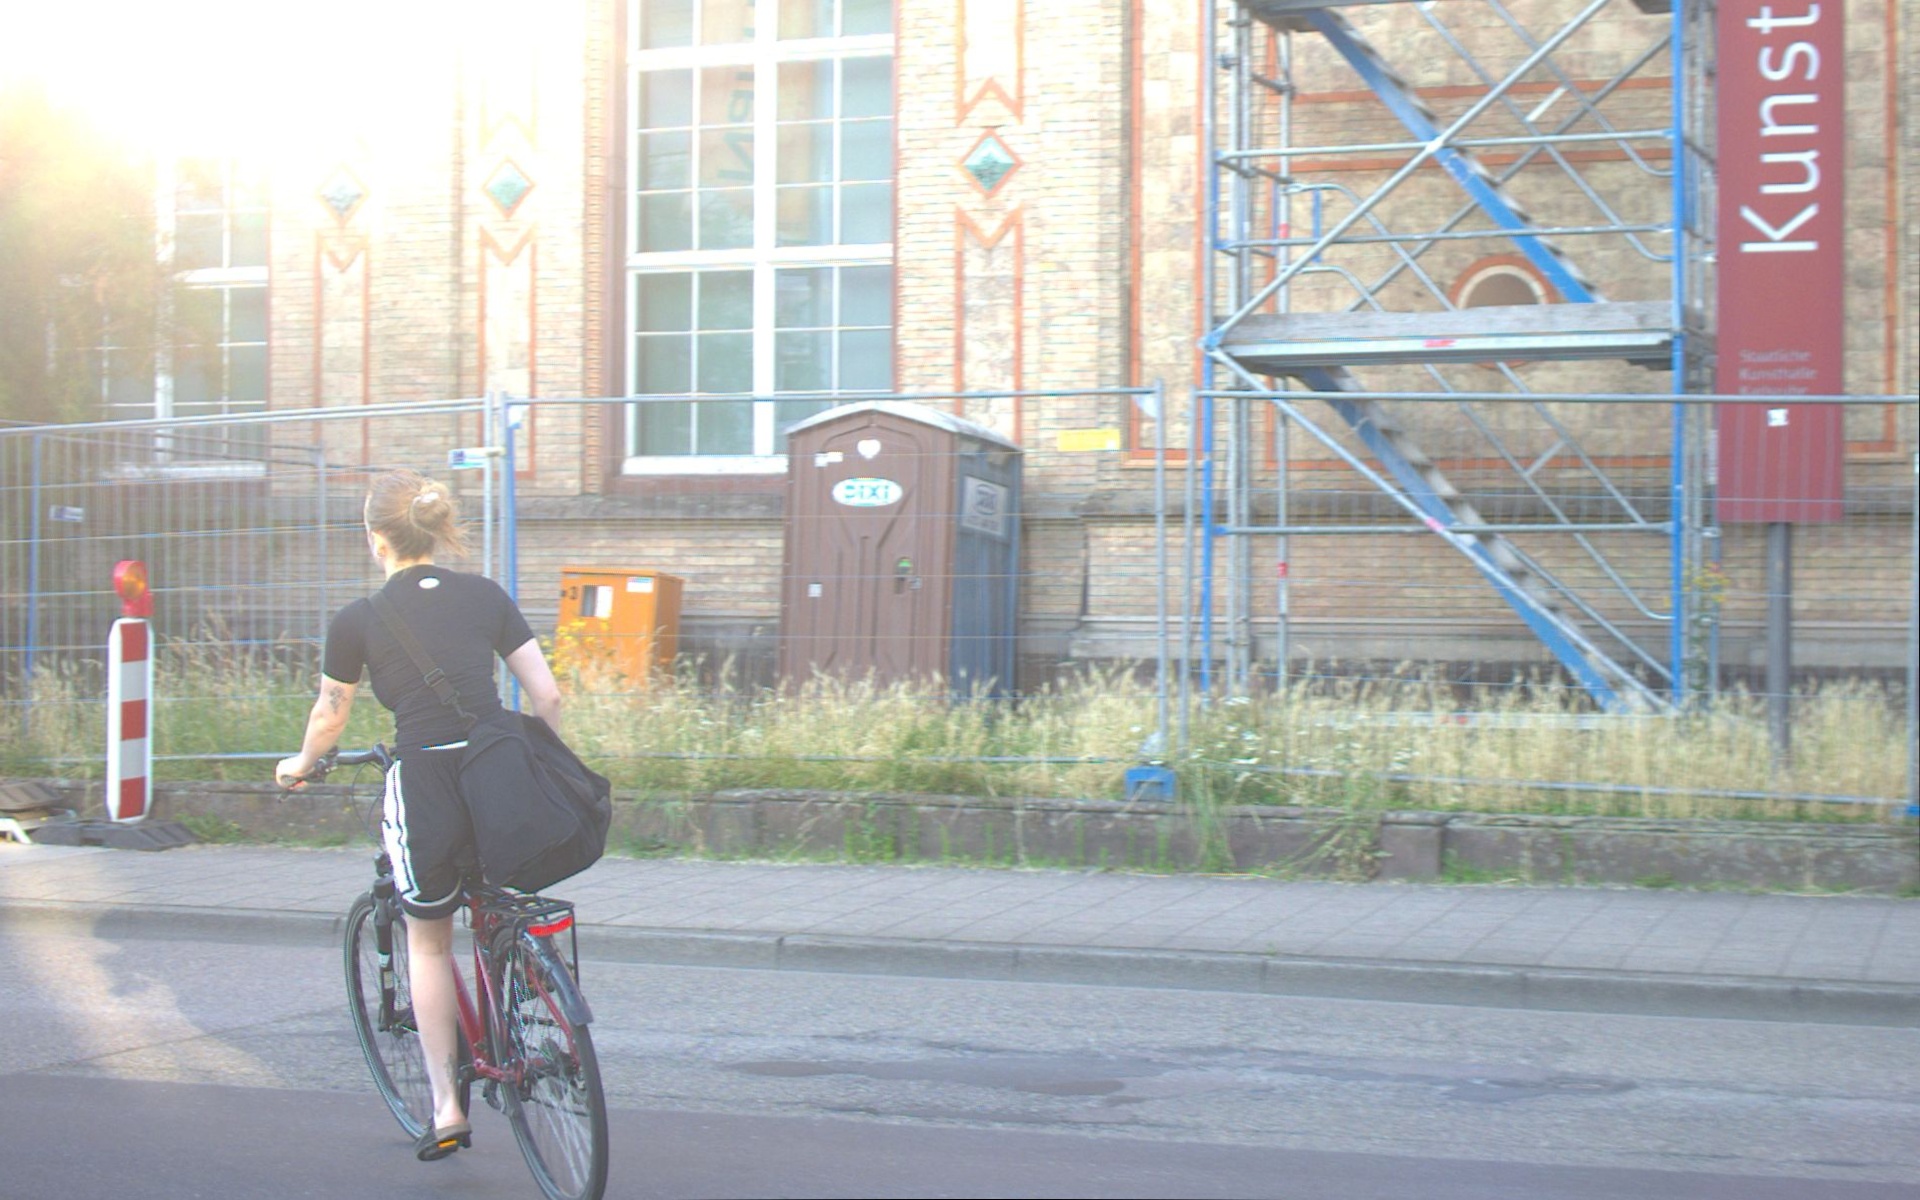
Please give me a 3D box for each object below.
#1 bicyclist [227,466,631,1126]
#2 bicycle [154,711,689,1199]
[{"bbox_3d":[-1.303,0.454,8.350,0.716,1.497,0.851,2,-1,-27],"label":"bicyclist"},{"bbox_3d":[-1.391,0.876,8.503,0.711,1.152,2.069,2,-1,-26],"label":"bicycle"}]
